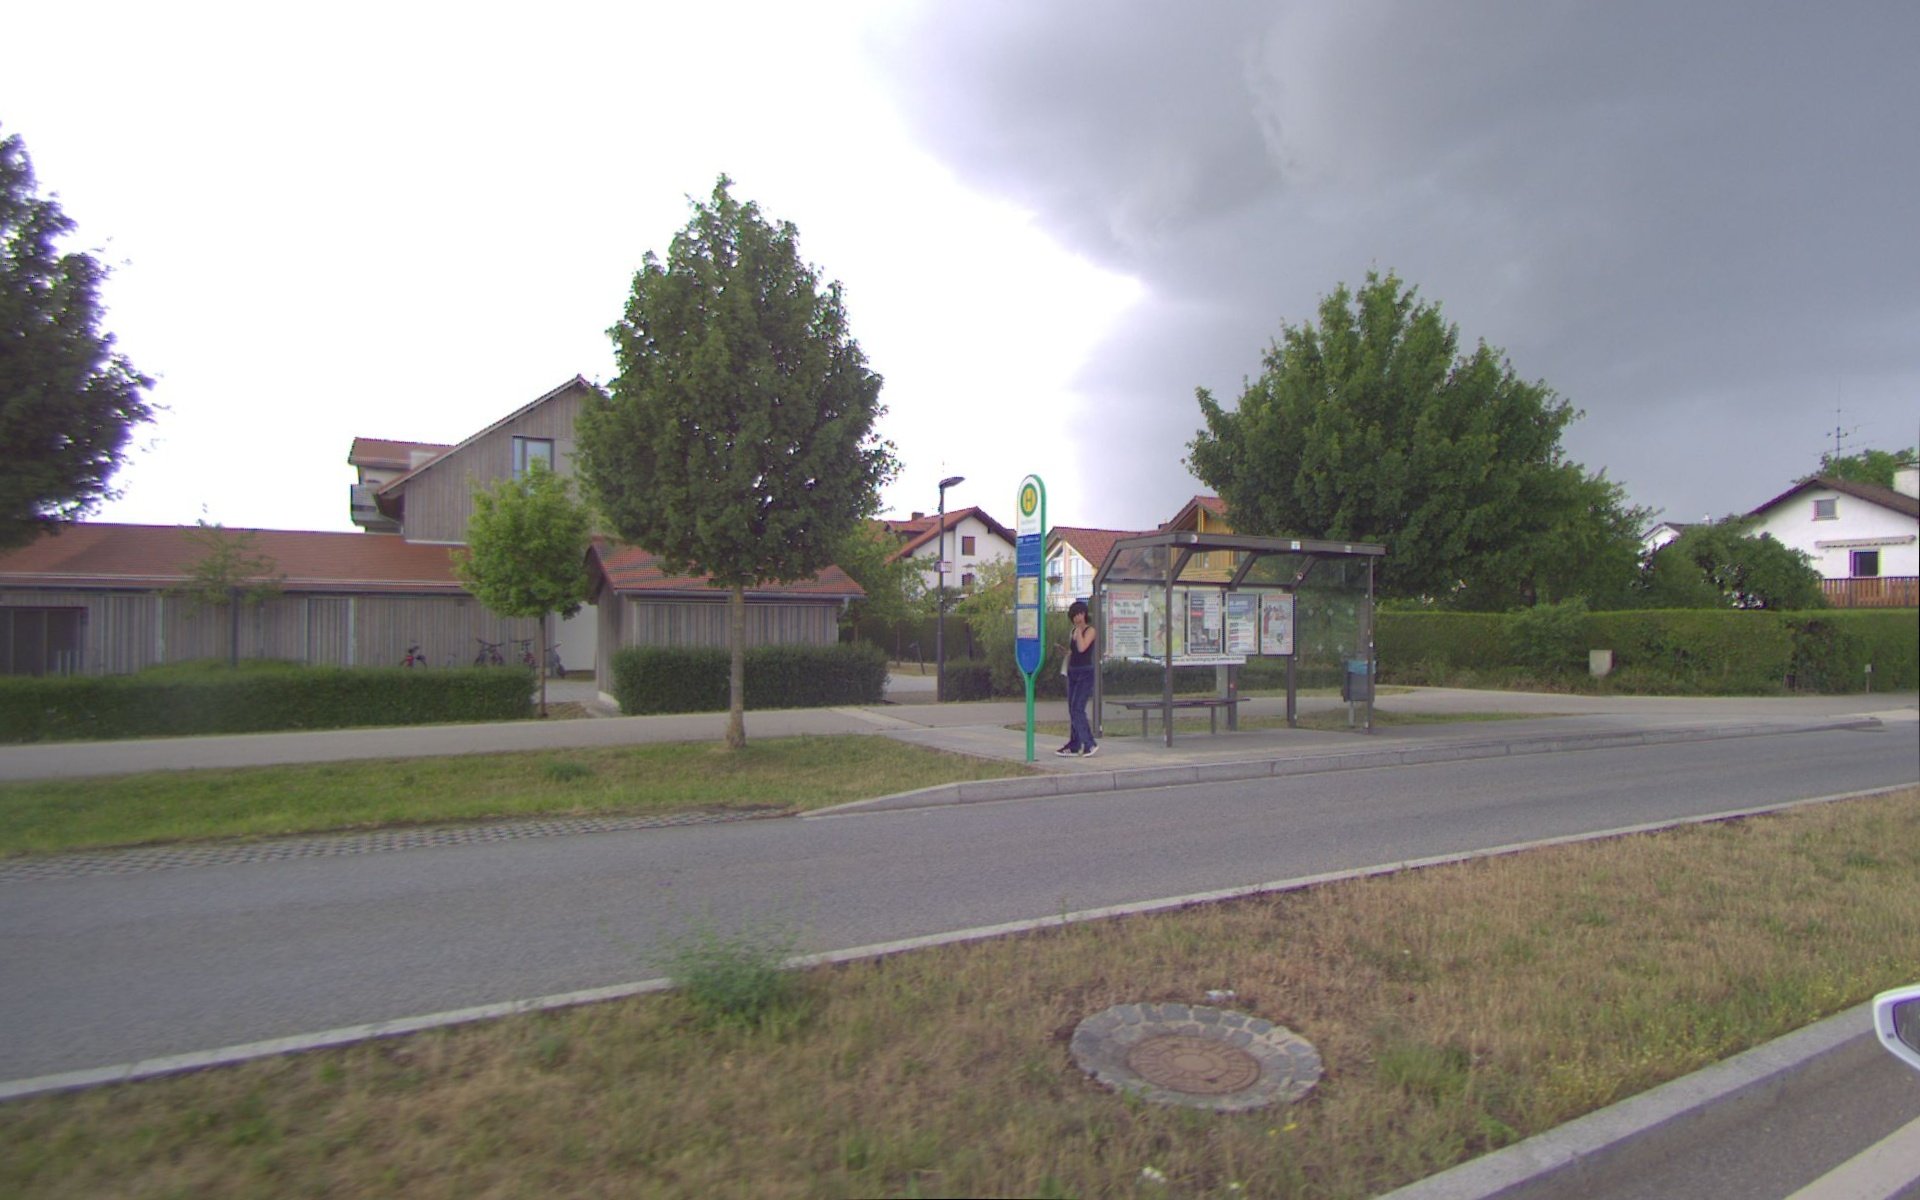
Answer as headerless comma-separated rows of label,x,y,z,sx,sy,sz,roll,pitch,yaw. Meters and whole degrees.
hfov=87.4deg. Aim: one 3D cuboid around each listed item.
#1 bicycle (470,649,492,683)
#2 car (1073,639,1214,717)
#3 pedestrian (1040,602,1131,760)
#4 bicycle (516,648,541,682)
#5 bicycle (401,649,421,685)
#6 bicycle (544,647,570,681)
bicycle,-13.865,1.891,29.050,0.414,0.921,1.932,1,-1,-31
car,5.331,2.223,29.670,1.977,2.040,3.967,1,-1,-31
pedestrian,1.372,0.859,10.984,0.803,1.658,0.585,1,-1,-30
bicycle,-12.768,1.906,29.703,0.414,0.921,1.932,1,-1,-31
bicycle,-15.359,1.848,28.075,0.414,0.921,1.932,1,-1,-31
bicycle,-12.087,1.908,30.083,0.414,0.921,1.932,1,-1,-31
